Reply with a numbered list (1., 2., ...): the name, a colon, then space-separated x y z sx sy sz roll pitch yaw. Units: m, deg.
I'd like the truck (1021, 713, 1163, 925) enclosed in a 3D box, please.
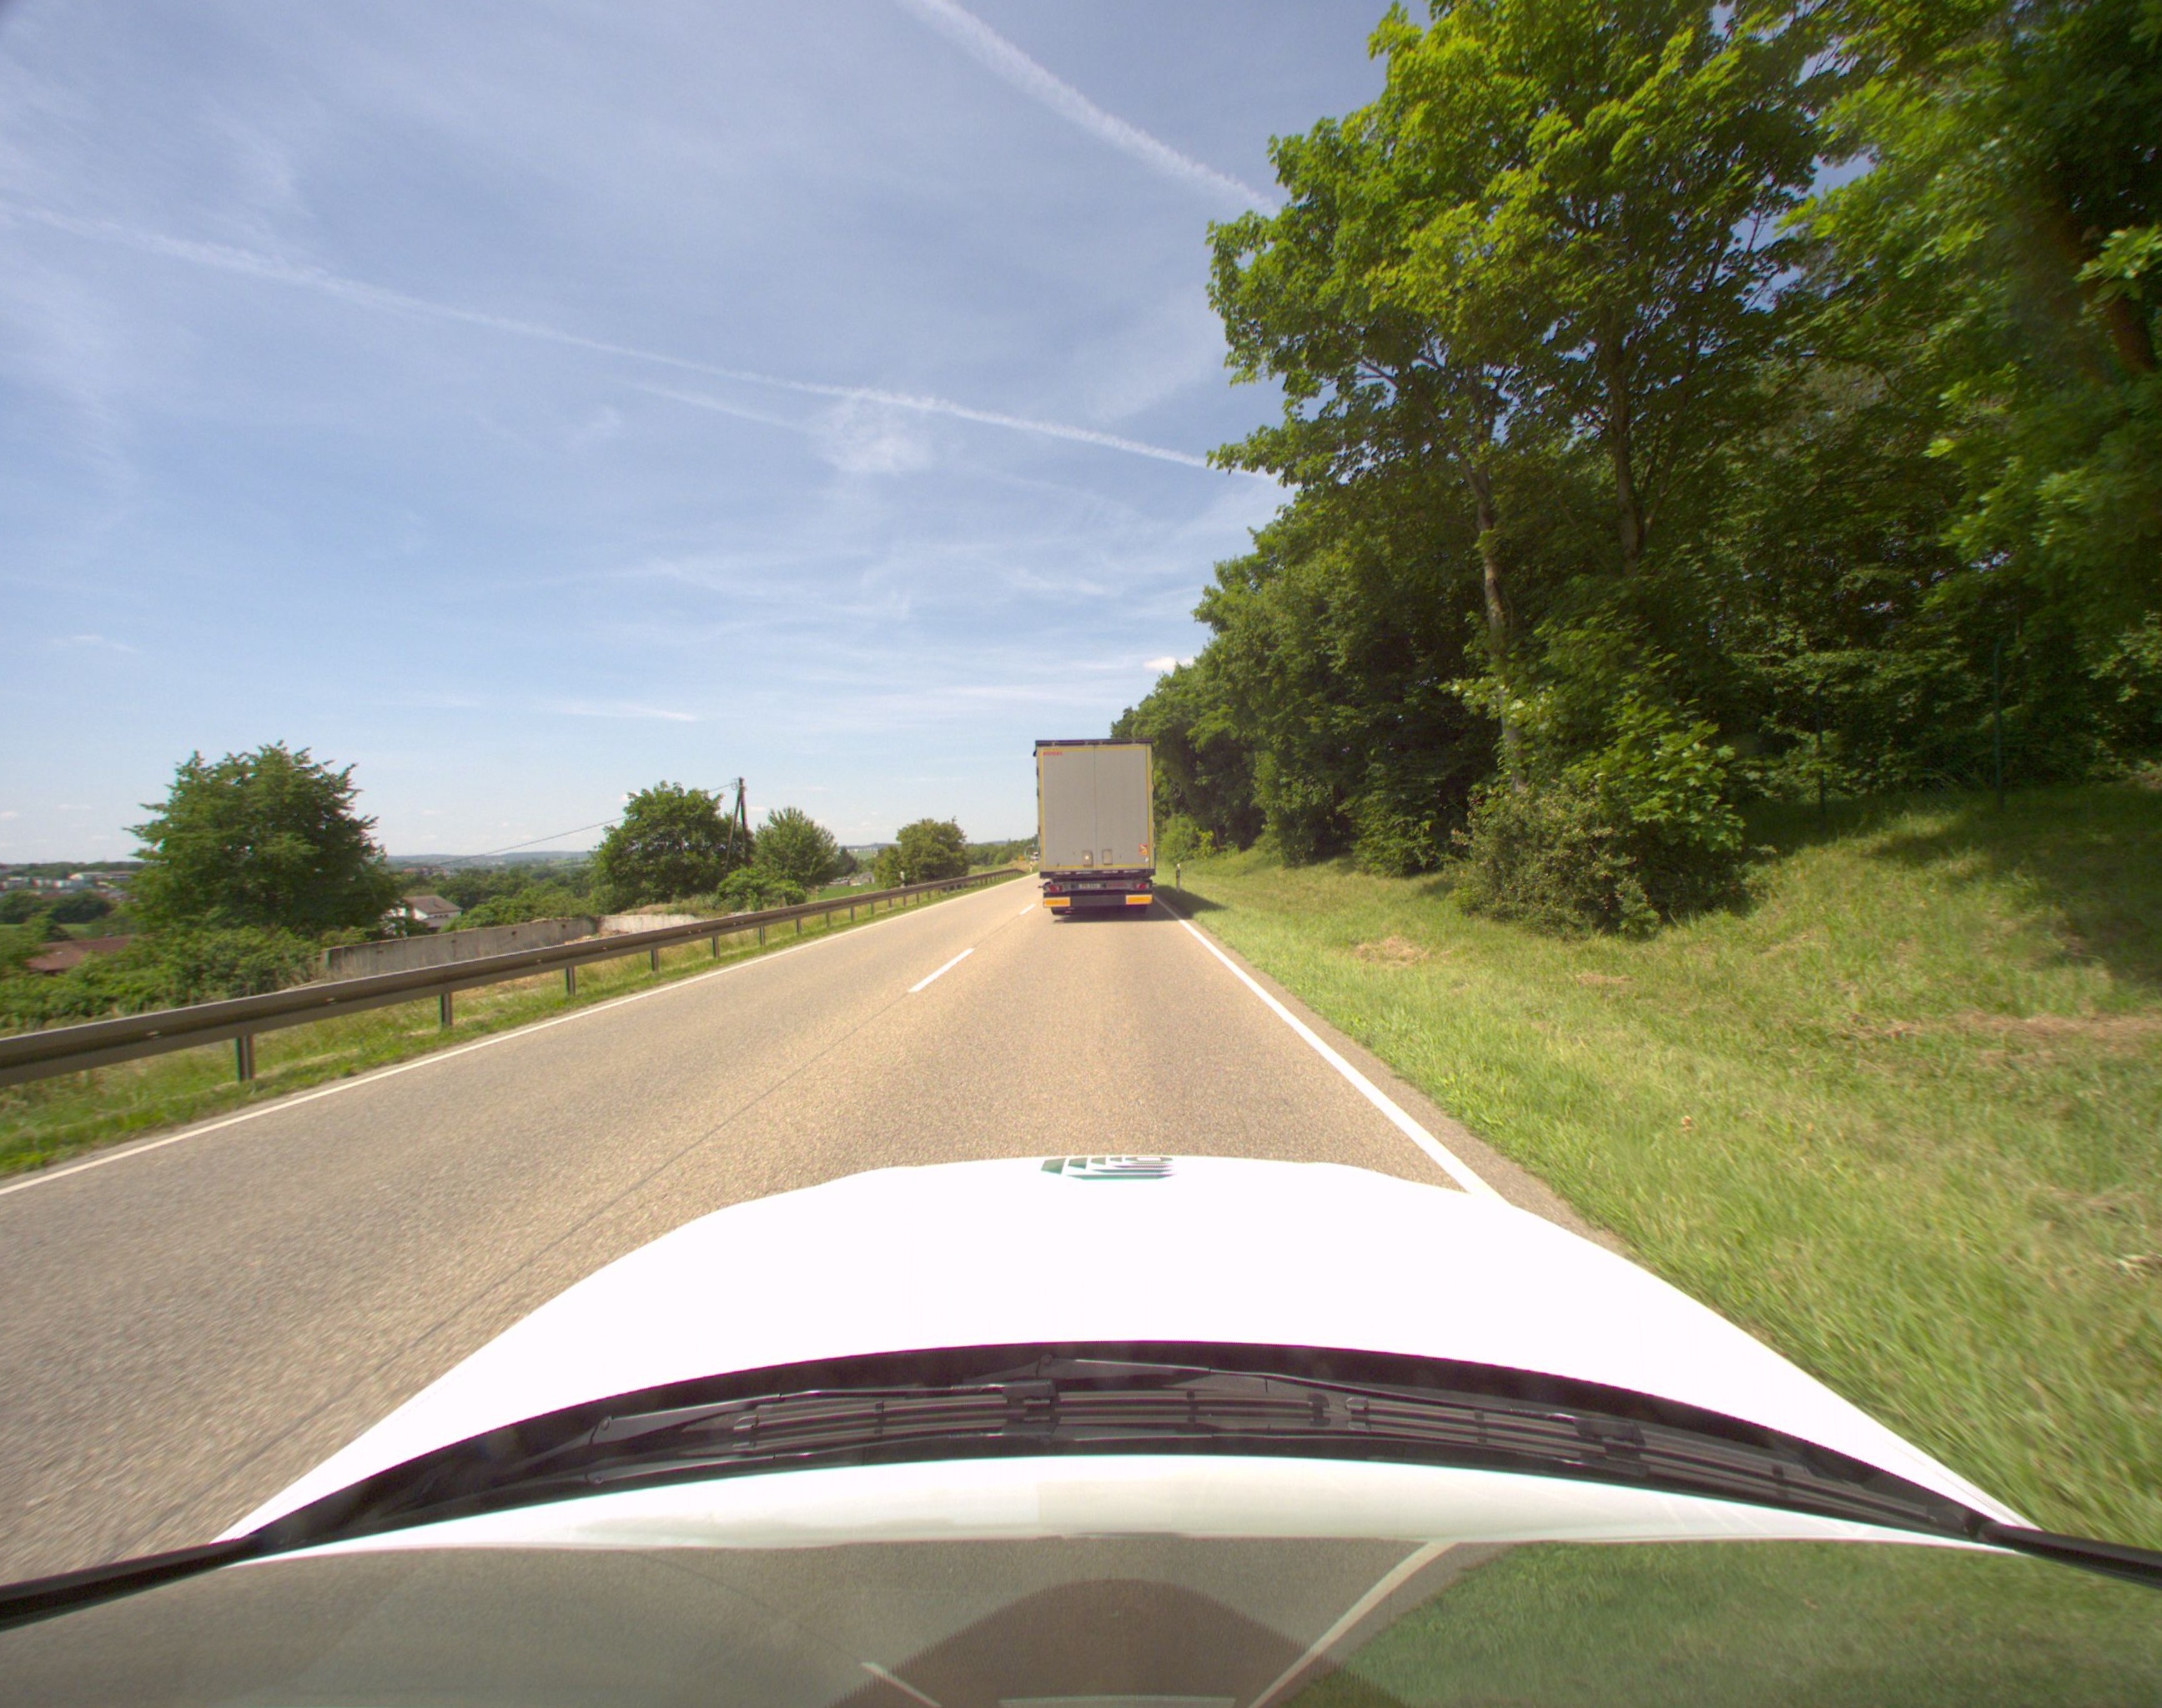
1. truck: 0.373 -0.742 21.669 2.896 4.410 8.863 -2 0 2
